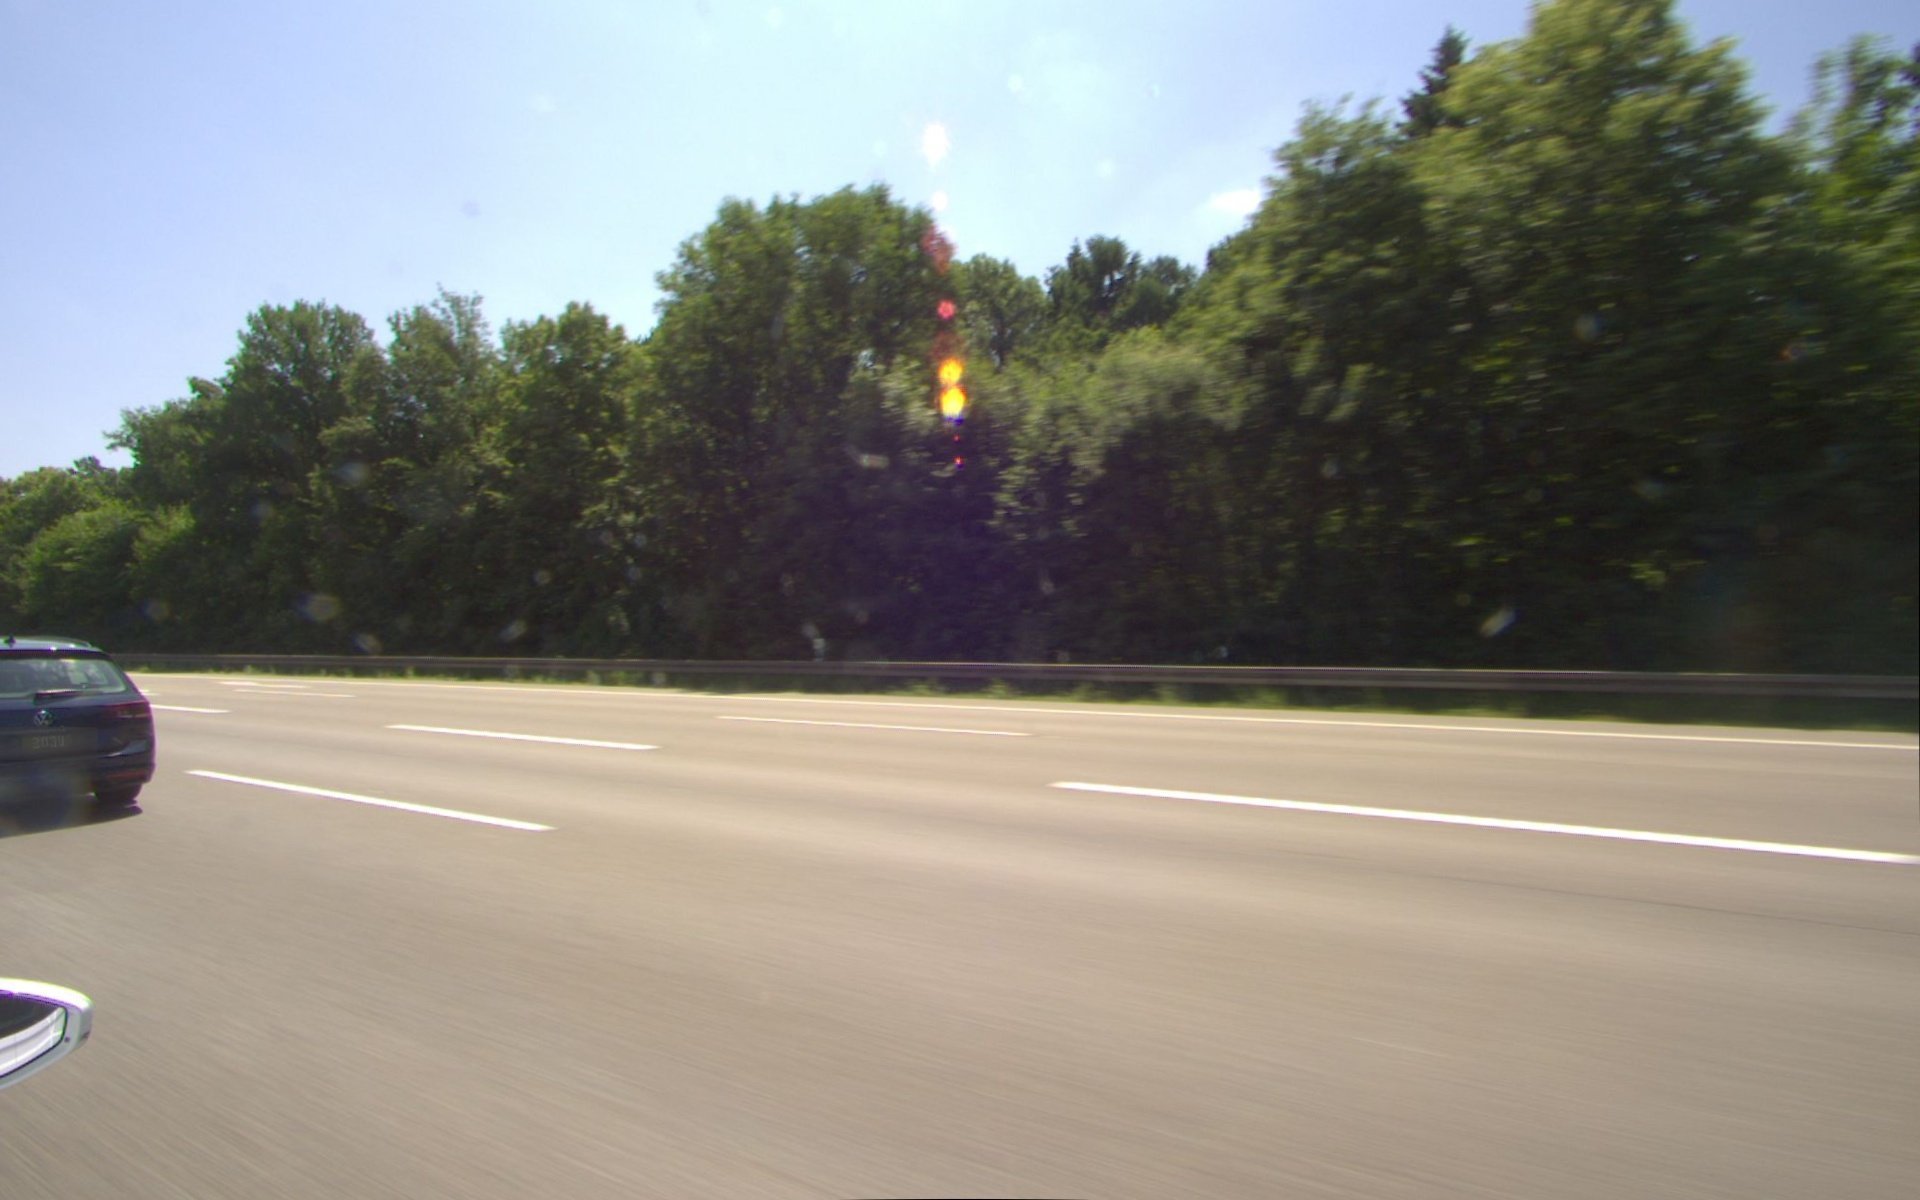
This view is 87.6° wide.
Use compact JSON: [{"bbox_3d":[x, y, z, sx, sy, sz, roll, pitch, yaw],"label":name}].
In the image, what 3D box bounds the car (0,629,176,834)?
[{"bbox_3d":[-8.914,1.001,8.764,4.891,1.466,1.726,-1,-1,33],"label":"car"}]
